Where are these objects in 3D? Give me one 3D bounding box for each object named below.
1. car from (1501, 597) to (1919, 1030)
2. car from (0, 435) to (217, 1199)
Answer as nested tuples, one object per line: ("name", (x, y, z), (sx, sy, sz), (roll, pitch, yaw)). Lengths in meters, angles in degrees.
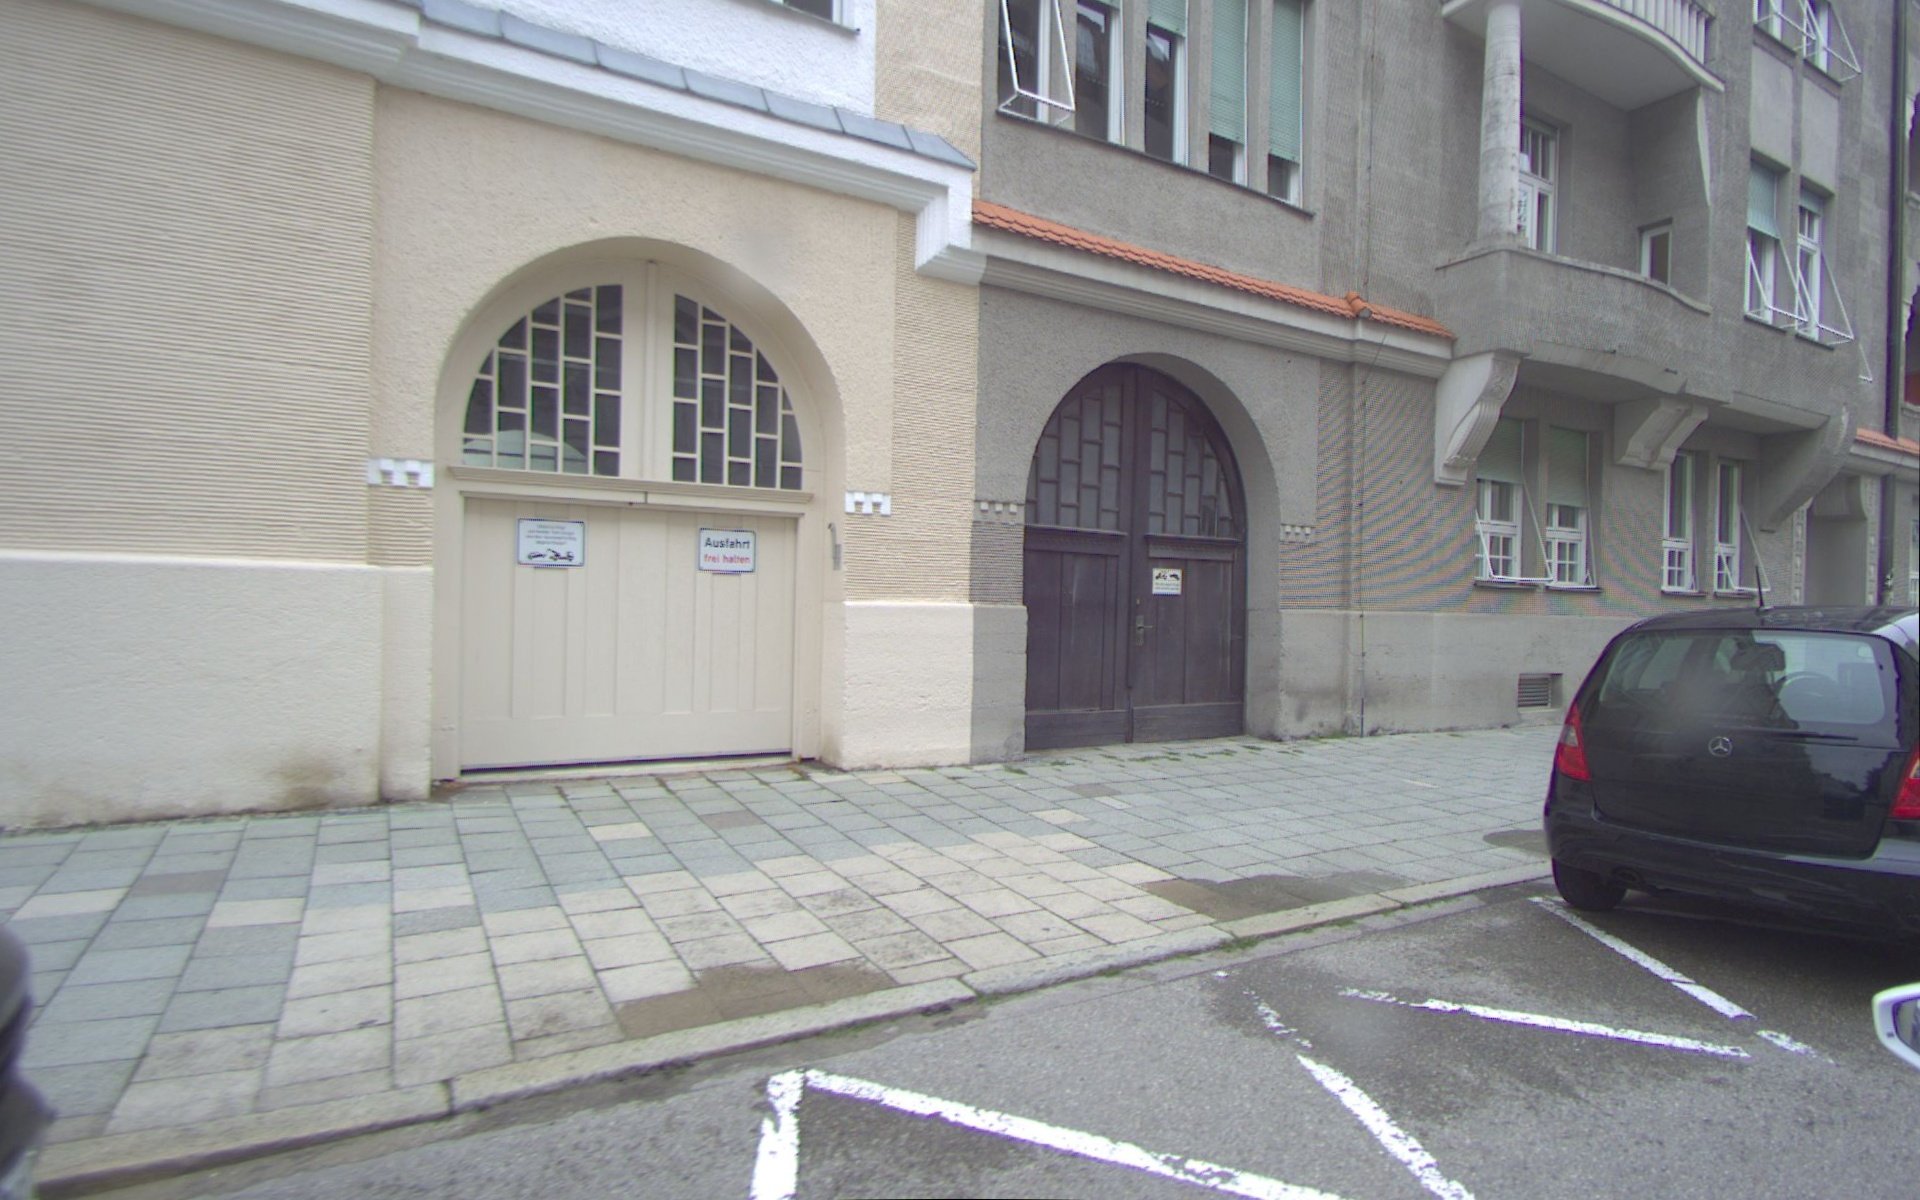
("car", (4.788, 0.836, 5.347), (3.774, 1.593, 1.792), (2, 0, -34))
("car", (-3.383, 0.572, 0.472), (4.558, 1.681, 1.944), (2, 0, -27))
